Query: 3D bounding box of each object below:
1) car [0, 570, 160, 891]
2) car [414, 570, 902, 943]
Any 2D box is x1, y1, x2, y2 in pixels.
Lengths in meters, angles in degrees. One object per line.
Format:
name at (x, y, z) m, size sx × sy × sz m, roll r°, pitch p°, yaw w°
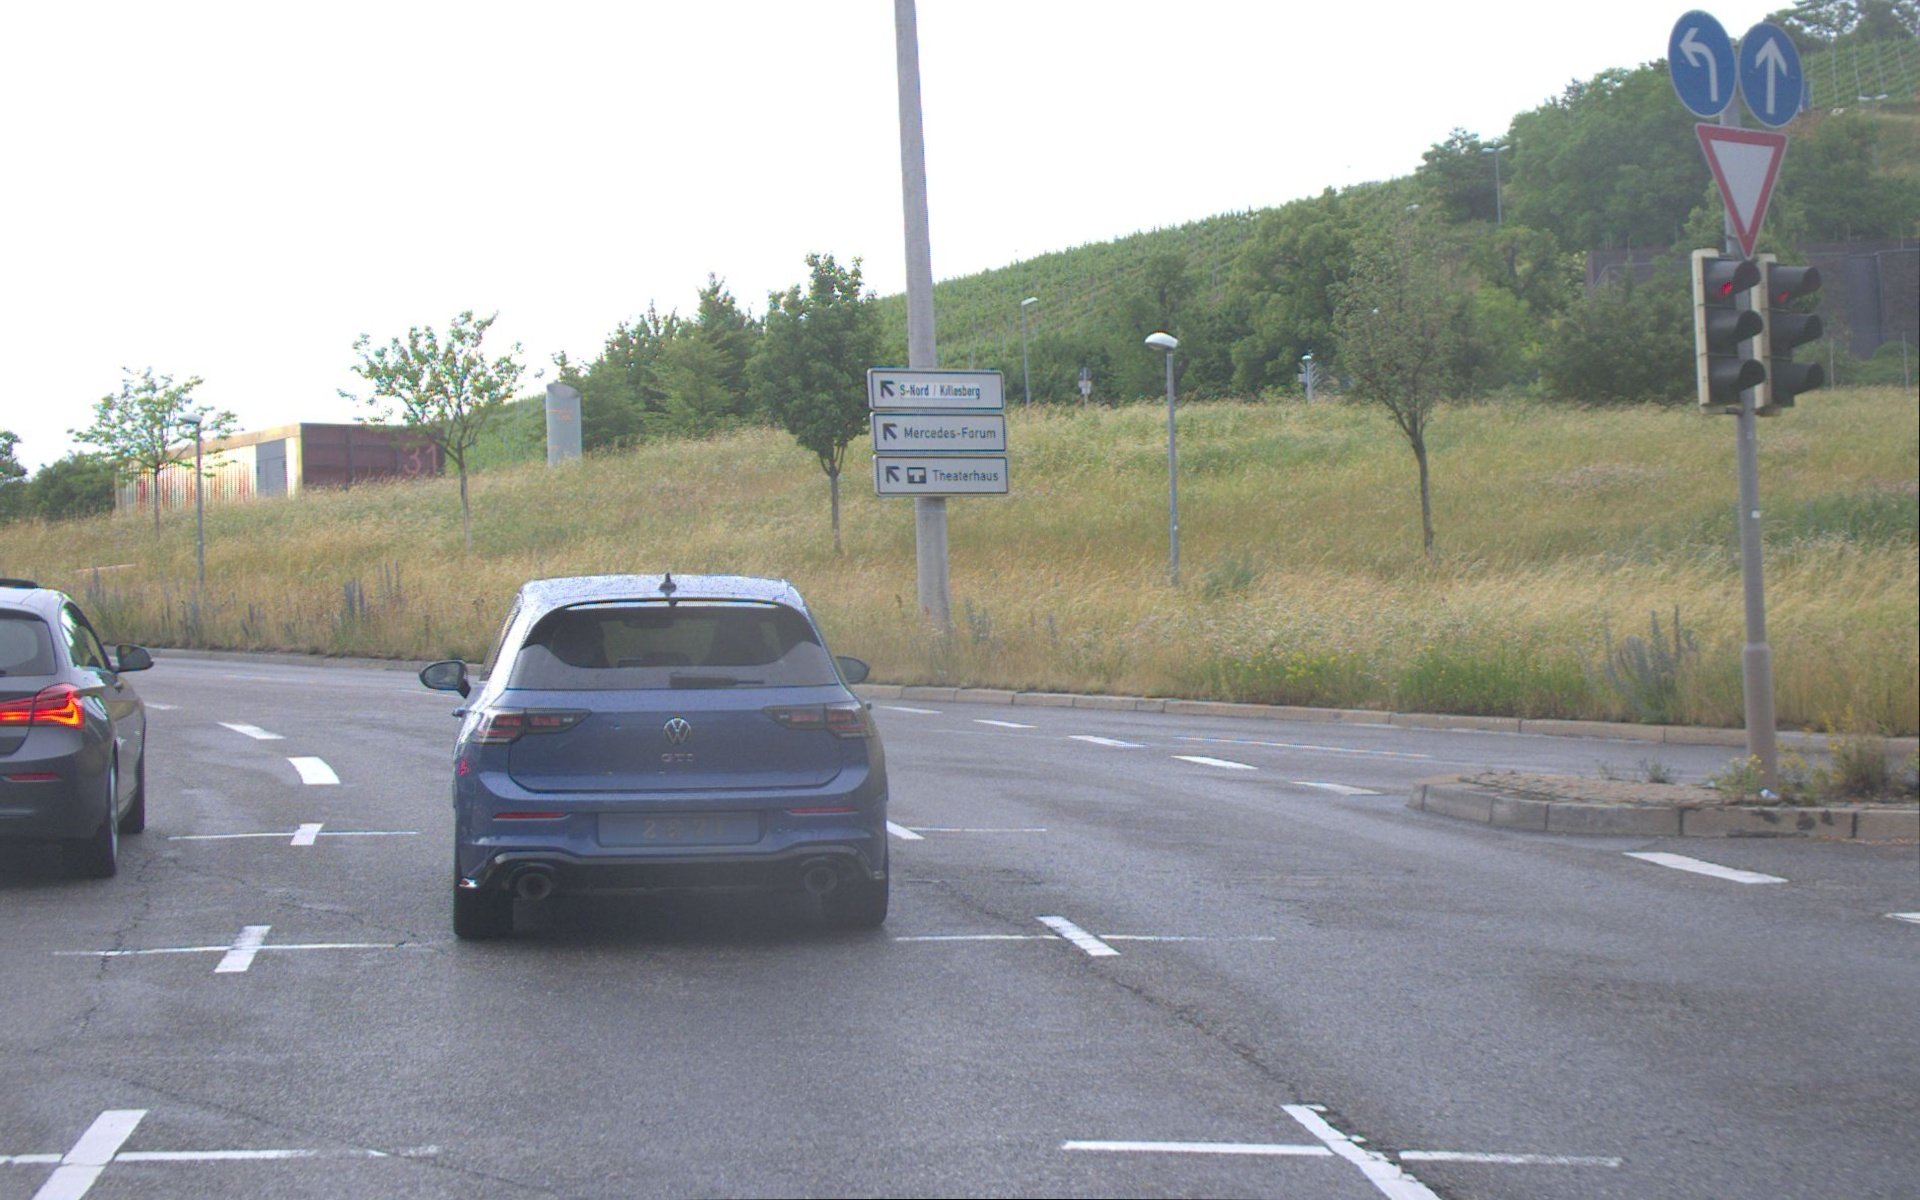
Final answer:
car at (-5.166, 0.590, 17.532) m, size 1.868 × 1.456 × 3.977 m, roll 0°, pitch 0°, yaw -10°
car at (-1.356, 0.573, 15.057) m, size 1.837 × 1.389 × 4.001 m, roll 0°, pitch 1°, yaw -6°
